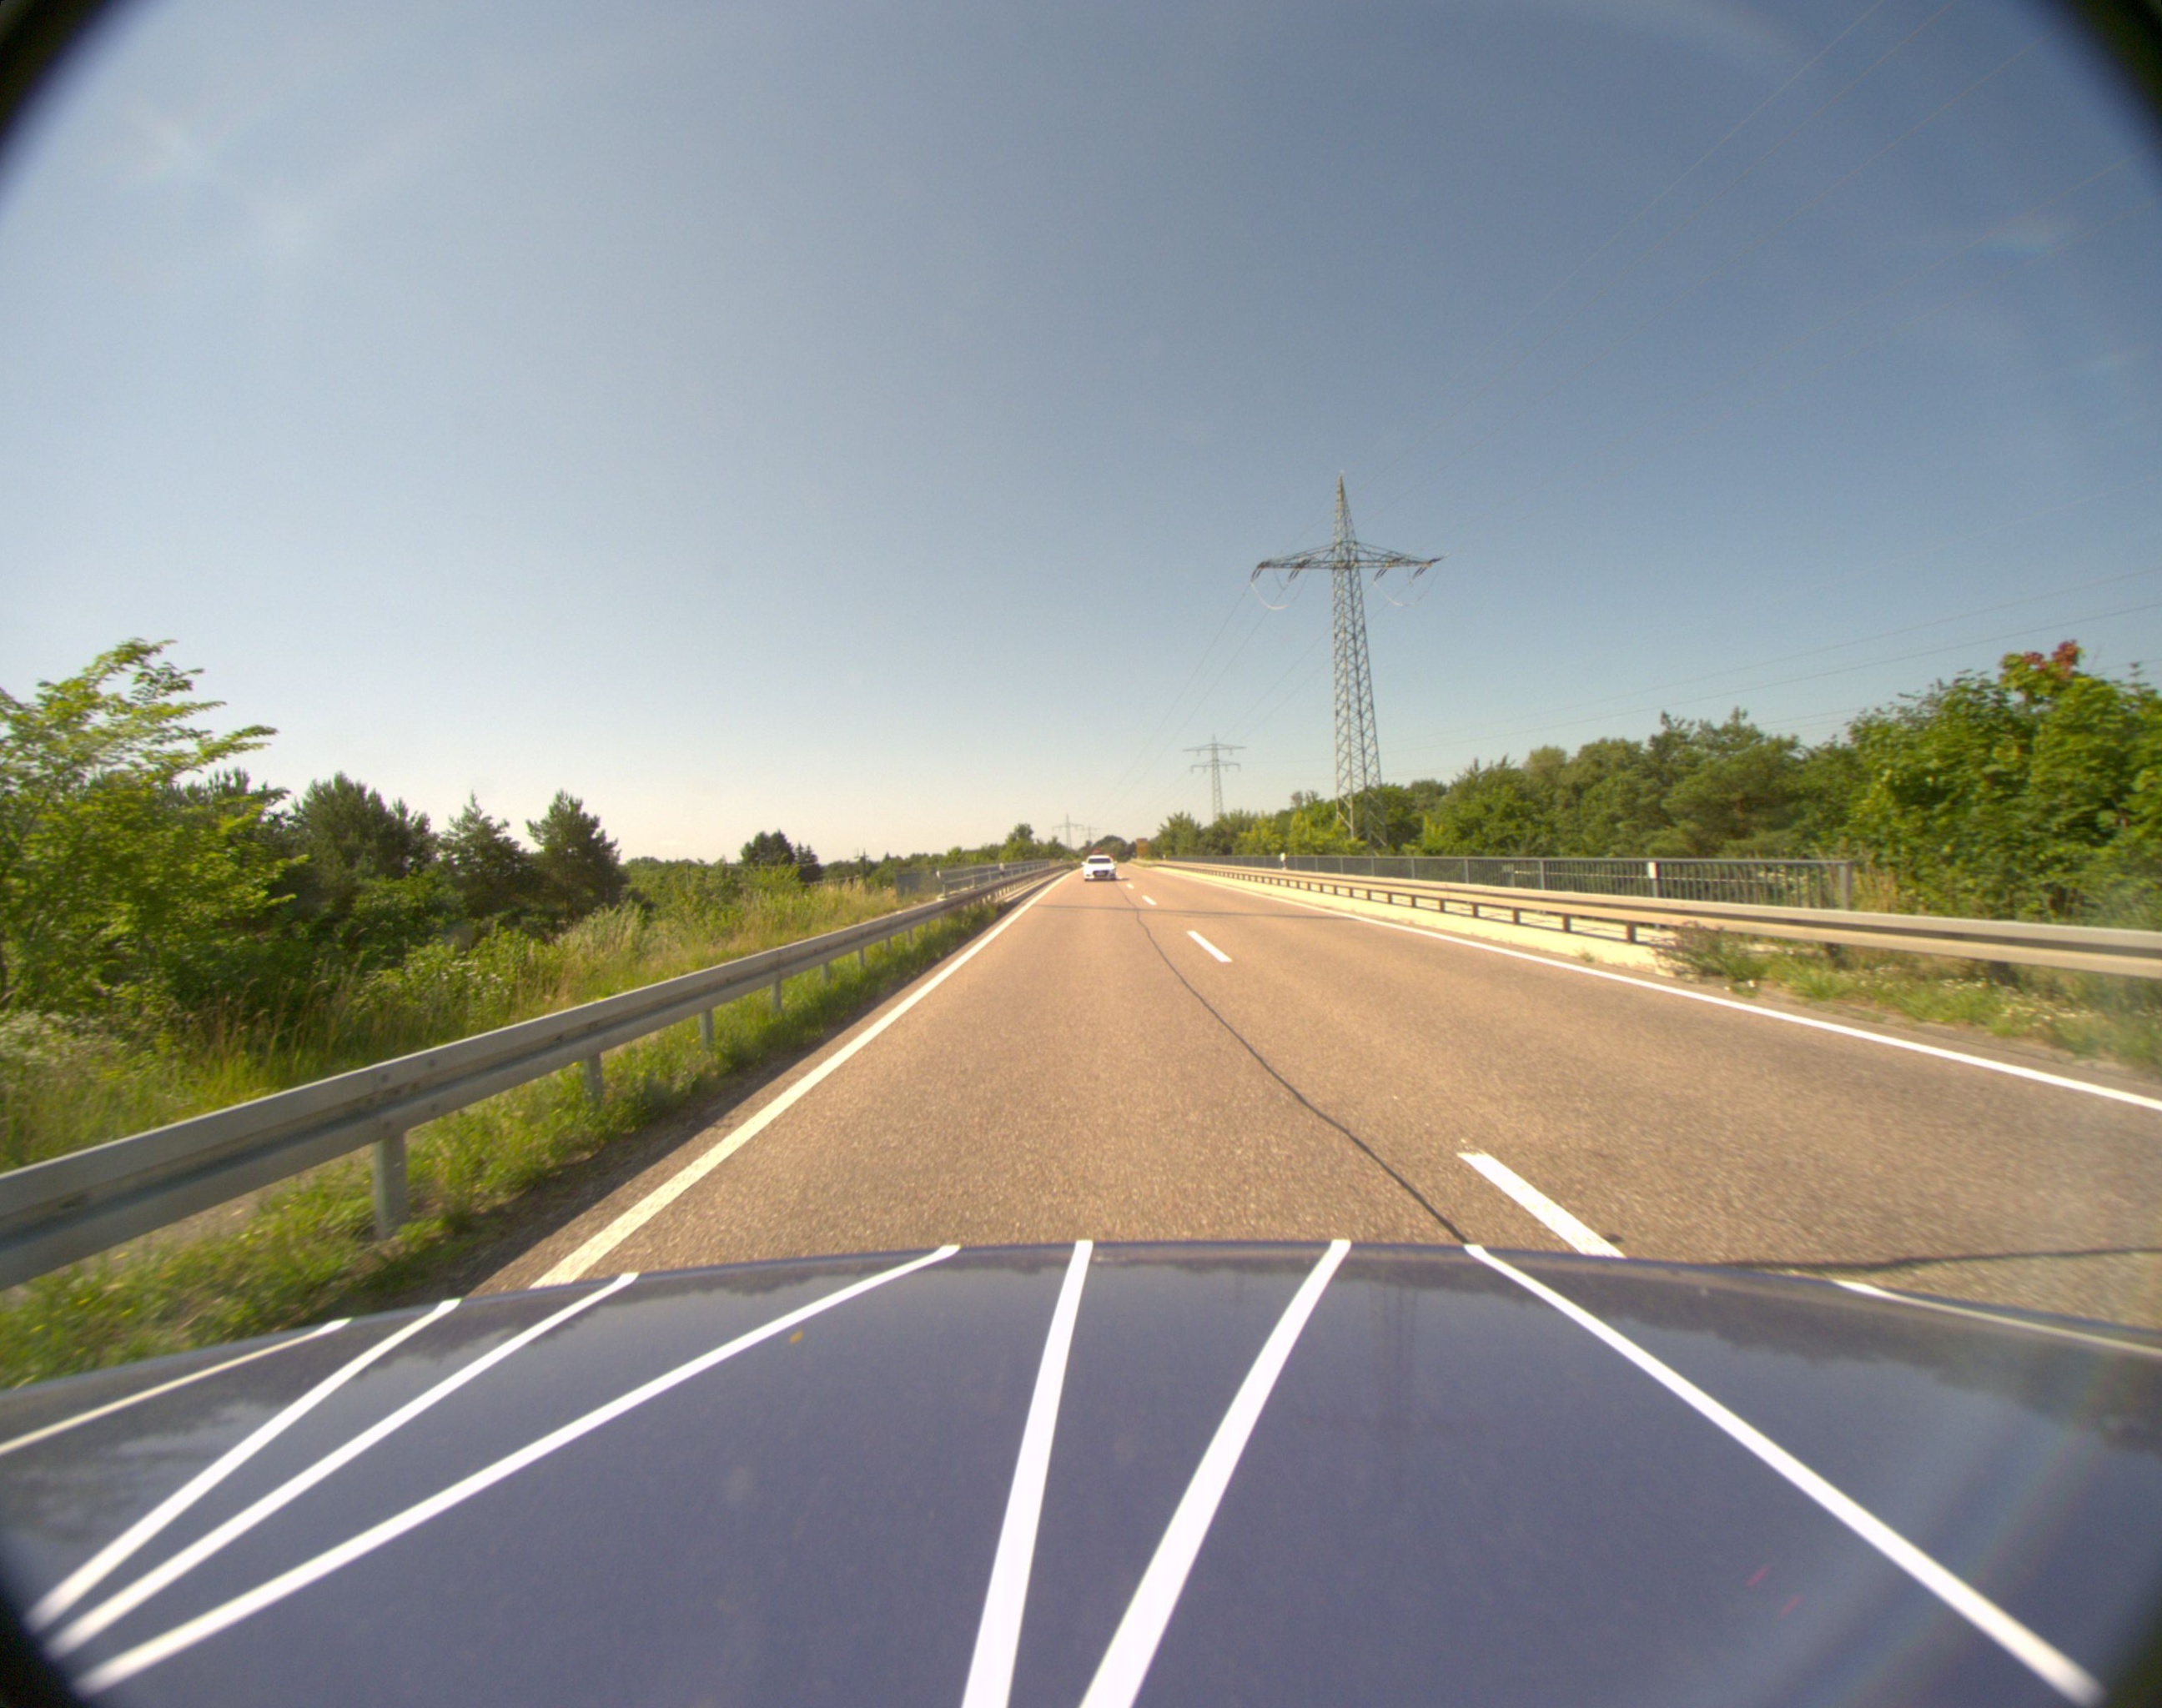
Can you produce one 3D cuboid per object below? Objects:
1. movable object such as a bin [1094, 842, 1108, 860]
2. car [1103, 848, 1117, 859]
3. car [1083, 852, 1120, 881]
[{"bbox_3d":[4.572,-0.714,172.217,2.760,3.816,9.447,-2,0,2],"label":"movable object such as a bin"},{"bbox_3d":[5.582,-0.114,145.408,2.125,1.934,5.023,-2,0,9],"label":"car"},{"bbox_3d":[1.148,0.696,43.800,1.923,1.496,4.794,-2,-1,1],"label":"car"}]
